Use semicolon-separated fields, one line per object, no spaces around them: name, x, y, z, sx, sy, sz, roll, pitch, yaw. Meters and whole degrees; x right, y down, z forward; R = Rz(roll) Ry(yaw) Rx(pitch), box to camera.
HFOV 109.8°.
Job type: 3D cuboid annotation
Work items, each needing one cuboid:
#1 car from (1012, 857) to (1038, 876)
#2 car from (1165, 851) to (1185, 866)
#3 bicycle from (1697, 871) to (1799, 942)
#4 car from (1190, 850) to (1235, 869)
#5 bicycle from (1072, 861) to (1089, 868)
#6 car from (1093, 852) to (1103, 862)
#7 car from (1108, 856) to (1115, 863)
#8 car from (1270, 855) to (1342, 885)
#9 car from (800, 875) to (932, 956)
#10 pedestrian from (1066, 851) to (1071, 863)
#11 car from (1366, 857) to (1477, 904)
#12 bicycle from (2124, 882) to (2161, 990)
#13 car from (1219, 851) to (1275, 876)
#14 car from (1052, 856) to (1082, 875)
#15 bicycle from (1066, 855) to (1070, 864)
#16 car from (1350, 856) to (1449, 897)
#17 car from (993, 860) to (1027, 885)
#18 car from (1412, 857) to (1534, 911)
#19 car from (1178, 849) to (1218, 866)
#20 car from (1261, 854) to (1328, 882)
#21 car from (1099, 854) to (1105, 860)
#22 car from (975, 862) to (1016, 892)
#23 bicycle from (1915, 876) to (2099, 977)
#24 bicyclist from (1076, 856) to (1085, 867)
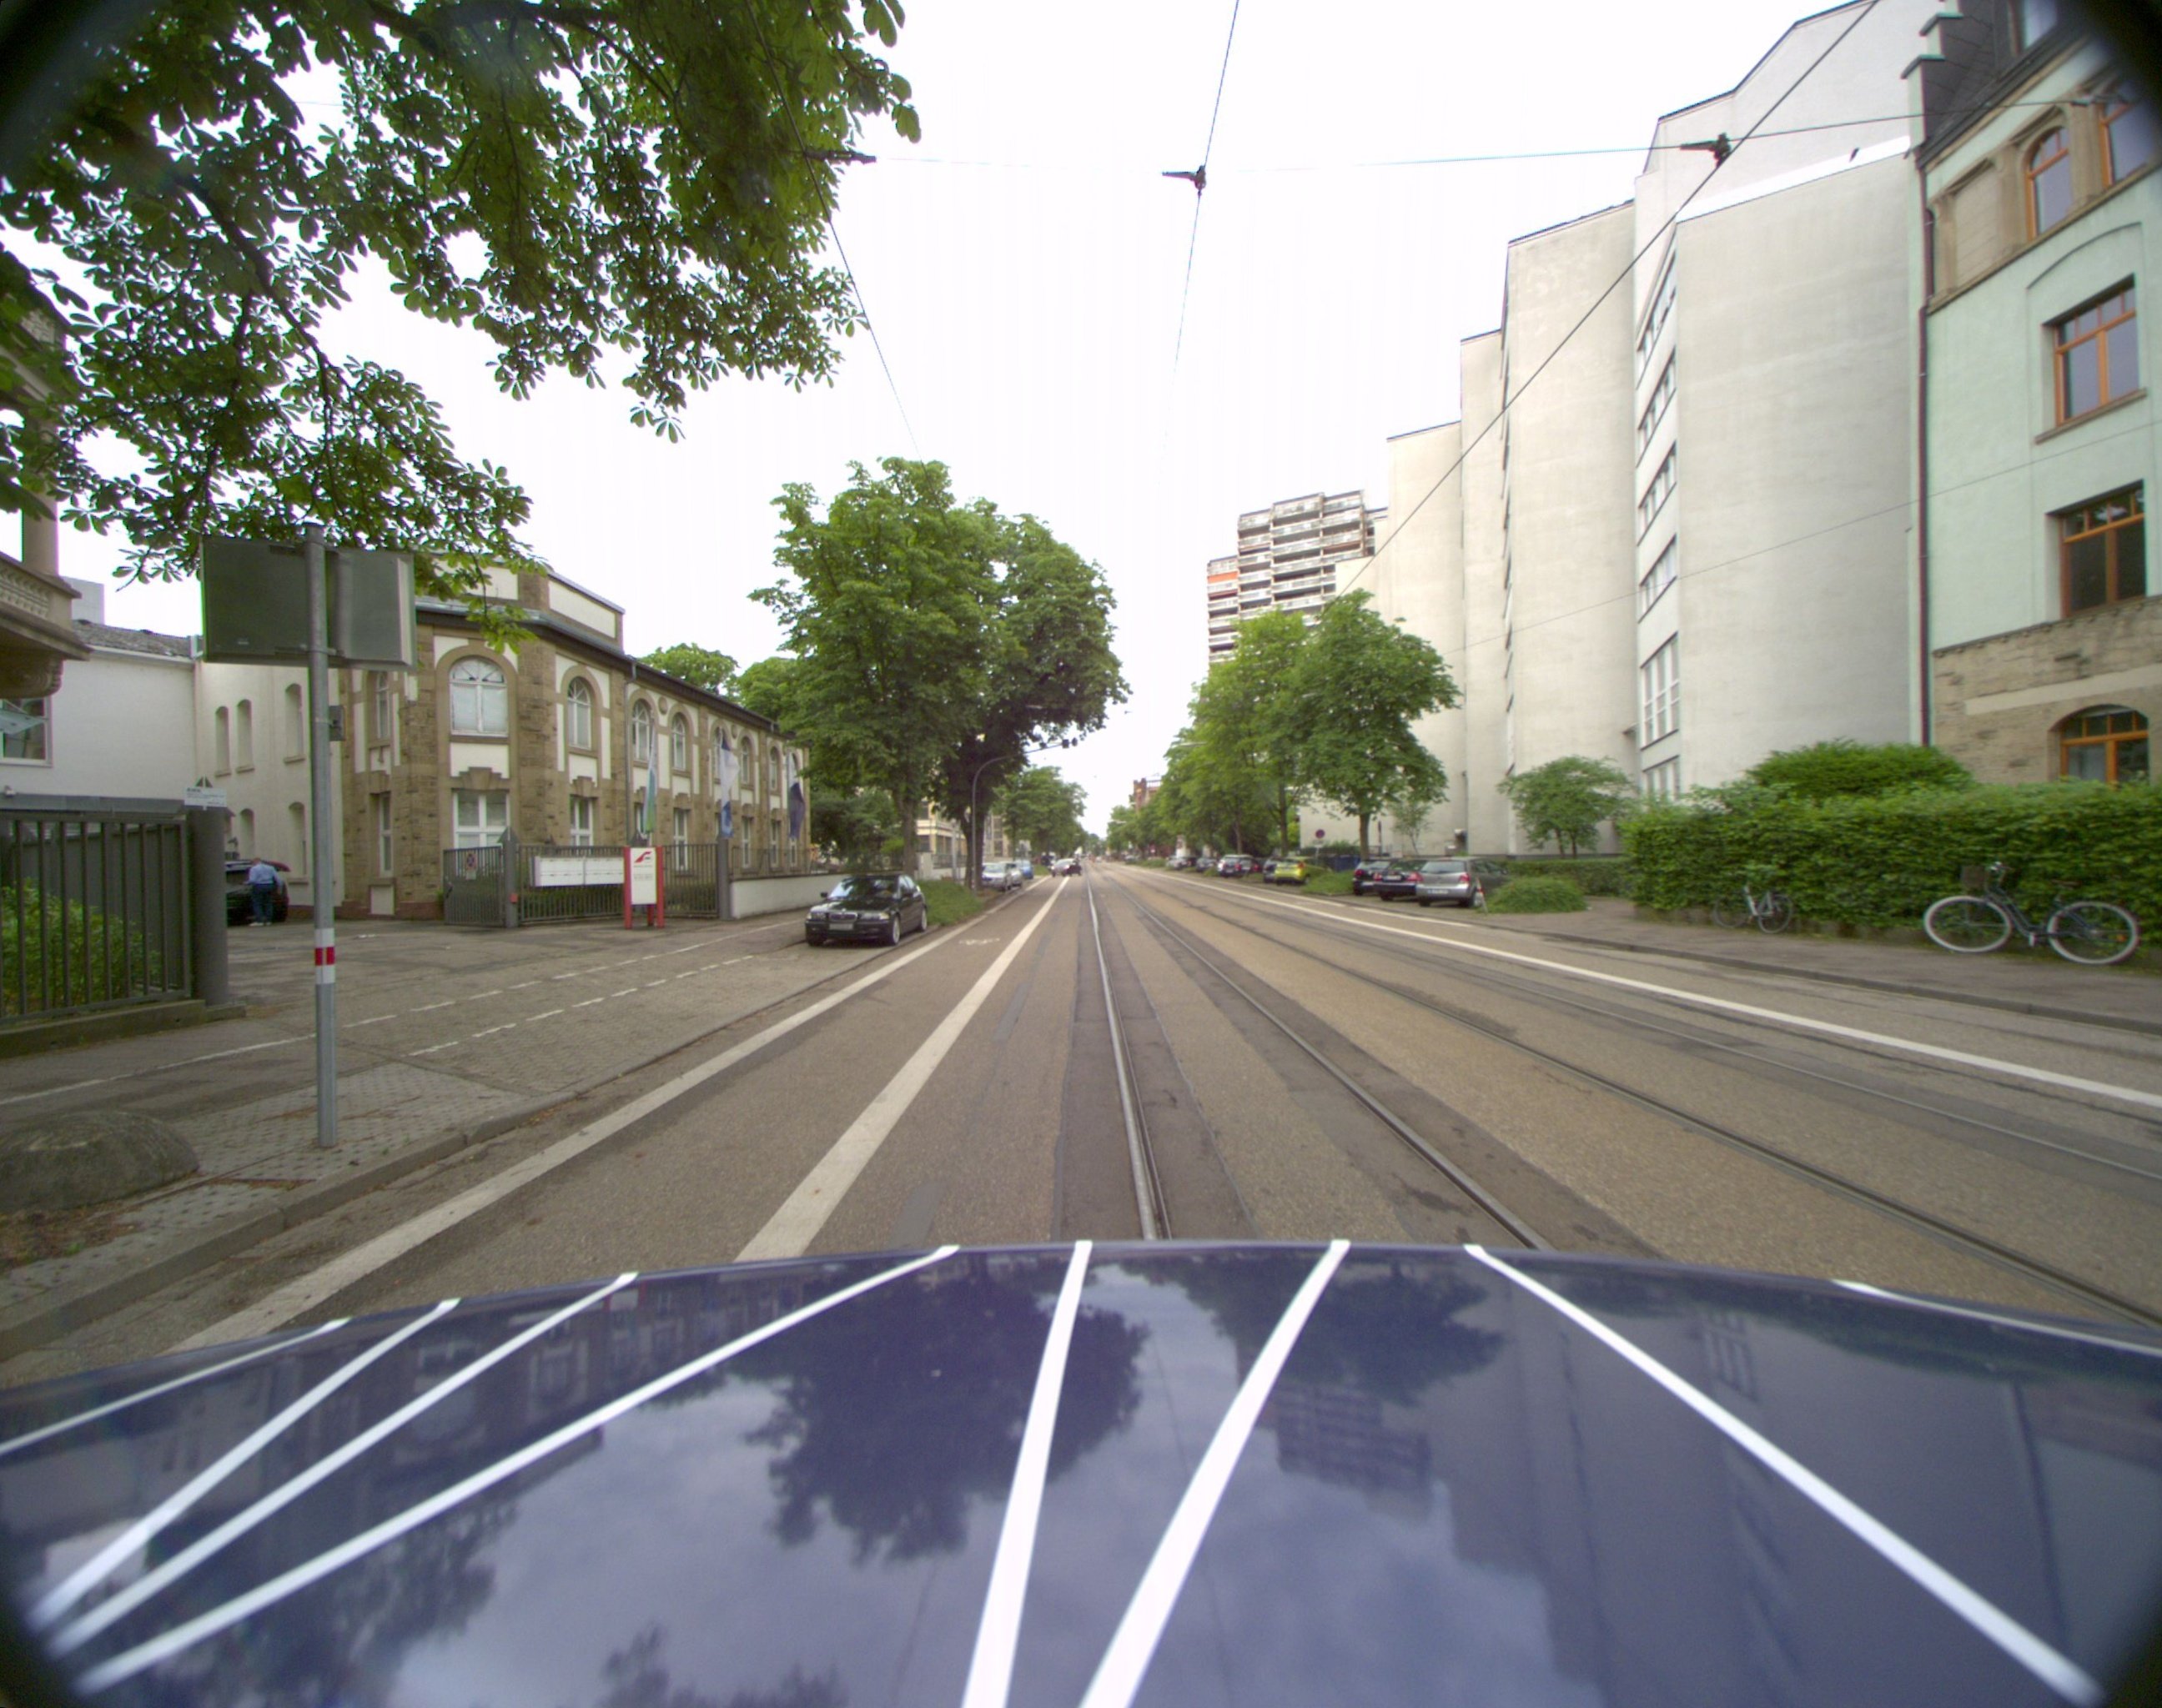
car;-4.231;0.929;58.145;1.606;1.362;3.837;1;0;1
car;10.480;0.451;84.799;1.694;1.611;3.999;-1;0;-1
bicycle;11.160;0.844;12.765;0.360;1.077;1.546;-1;0;1
car;11.325;0.464;65.191;4.008;1.611;1.690;-1;0;-43
bicycle;-0.094;1.209;87.151;1.890;0.784;0.568;-1;0;-6
car;2.936;0.472;130.406;1.723;1.691;3.372;-1;0;1
car;9.307;1.673;231.505;1.906;2.002;3.999;-2;1;1
car;11.441;0.767;38.474;4.008;1.387;1.690;-1;0;-43
car;-4.340;1.190;15.919;1.606;1.362;3.837;1;0;1
pedestrian;-1.671;0.414;101.142;0.684;1.541;0.704;-1;1;1
car;11.310;0.816;25.135;4.008;1.395;1.691;-1;0;-39
bicycle;11.041;0.829;7.144;0.360;1.077;1.546;-1;0;1
car;11.220;0.606;51.250;4.008;1.611;1.690;-1;0;-43
car;-1.119;0.953;63.314;1.605;1.427;3.780;-3;0;12
bicycle;-1.704;0.709;101.237;0.414;1.197;1.707;-1;0;1
car;11.871;0.788;28.239;4.008;1.395;1.691;-1;0;-39
car;-4.206;1.086;45.632;1.606;1.416;3.837;1;0;1
car;11.522;0.820;22.243;4.008;1.395;1.691;-1;0;-39
car;11.495;0.370;74.494;4.008;1.611;1.690;-1;0;-43
car;11.690;0.723;41.522;4.008;1.434;1.690;-1;0;-43
car;7.139;0.980;254.279;1.808;2.002;3.999;-2;1;1
car;-4.282;1.121;38.493;1.606;1.362;3.837;1;0;1
bicycle;11.130;0.827;9.209;0.360;1.077;1.546;-1;0;1
bicyclist;-0.064;0.906;87.107;0.875;1.247;0.752;-1;1;-6
